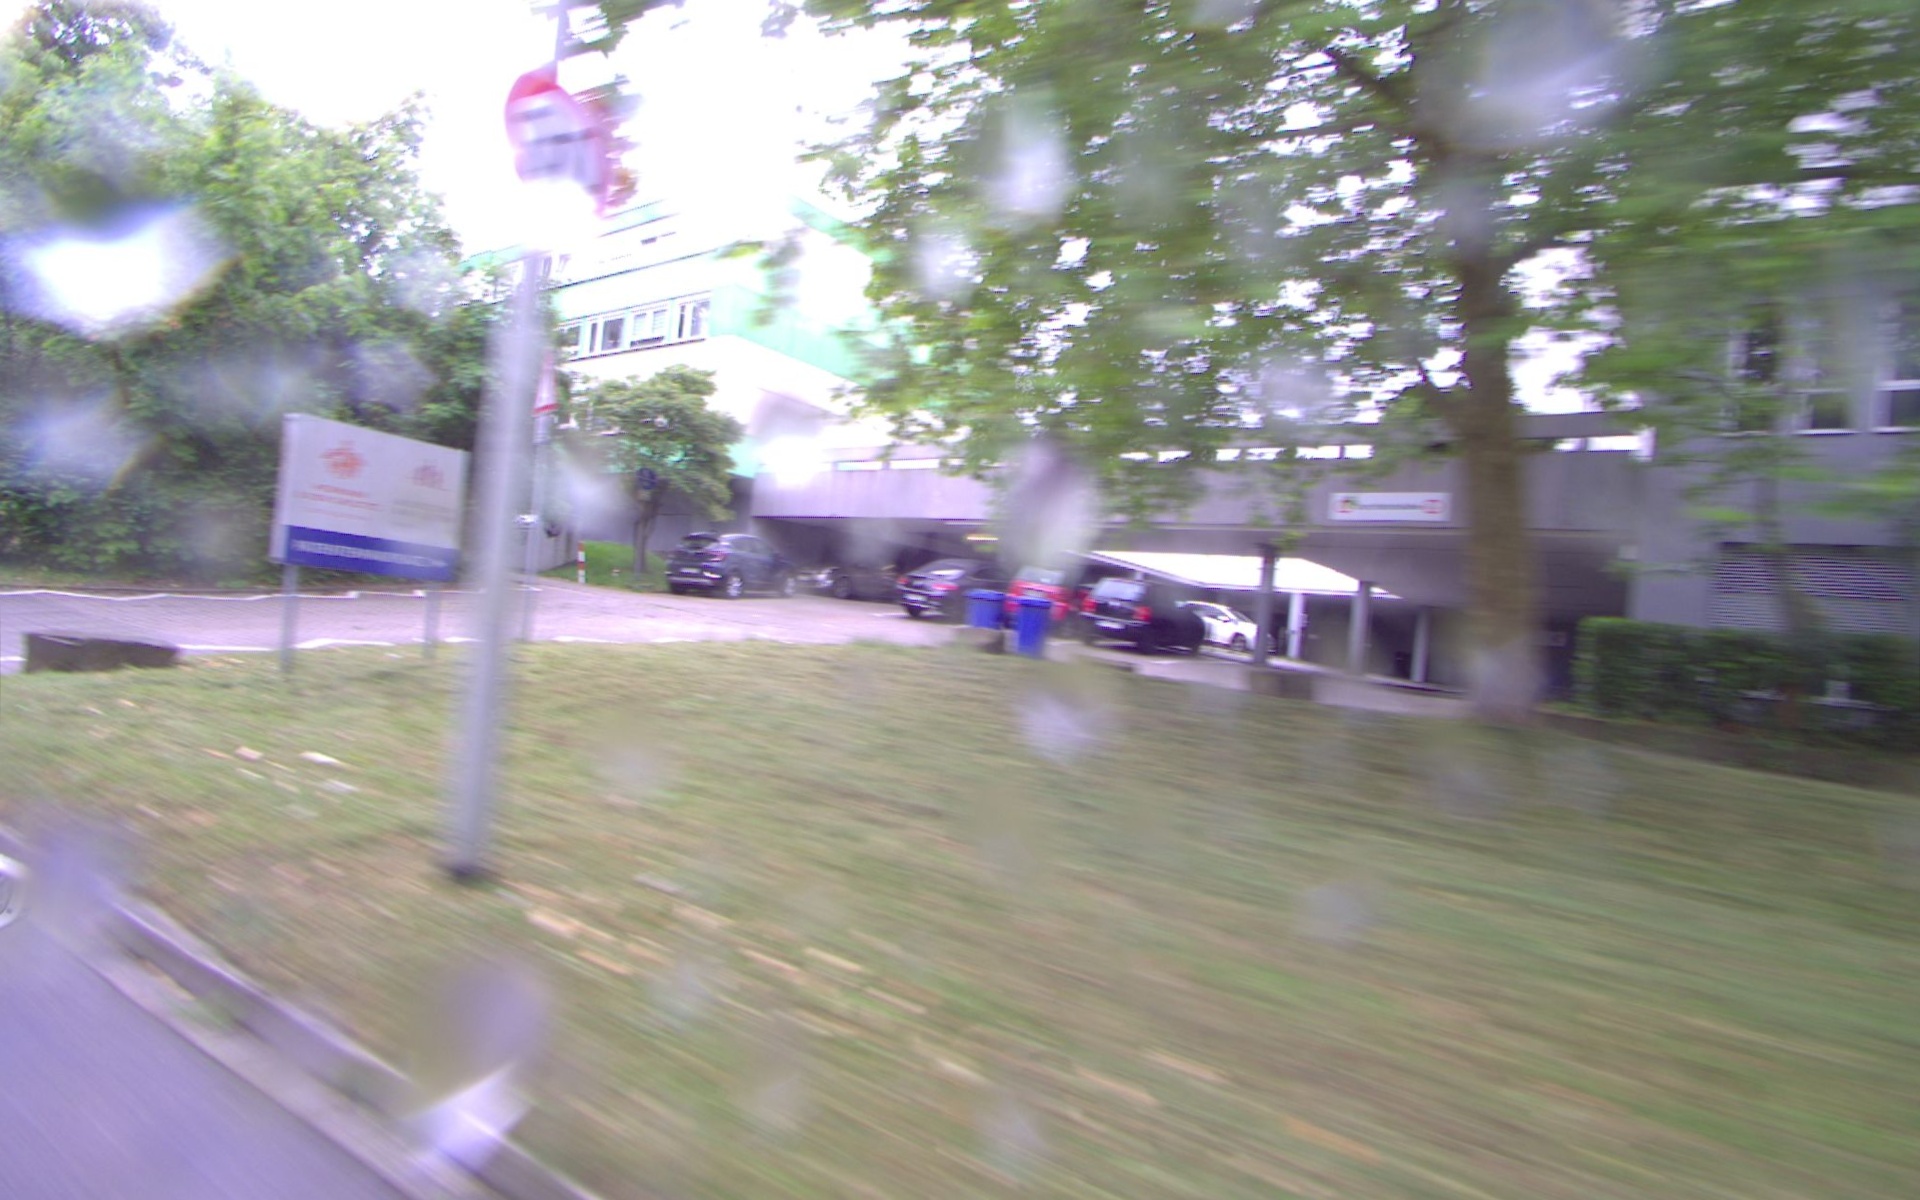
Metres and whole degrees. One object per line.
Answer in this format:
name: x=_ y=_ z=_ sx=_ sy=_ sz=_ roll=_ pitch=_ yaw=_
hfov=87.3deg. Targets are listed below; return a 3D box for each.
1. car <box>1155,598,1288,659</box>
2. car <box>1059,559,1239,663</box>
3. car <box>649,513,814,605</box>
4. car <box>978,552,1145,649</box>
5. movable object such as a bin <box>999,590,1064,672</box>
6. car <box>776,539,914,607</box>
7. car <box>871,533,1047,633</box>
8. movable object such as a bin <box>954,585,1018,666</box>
car: x=9.078 y=0.970 z=35.091 sx=3.947 sy=1.661 sz=1.917 roll=7 pitch=1 yaw=44
car: x=4.082 y=0.281 z=21.271 sx=1.970 sy=1.659 sz=3.986 roll=7 pitch=-1 yaw=38
car: x=-5.753 y=-0.983 z=25.846 sx=1.964 sy=1.771 sz=3.999 roll=7 pitch=-1 yaw=24
car: x=2.425 y=0.069 z=23.174 sx=1.929 sy=1.682 sz=3.989 roll=7 pitch=-1 yaw=36
movable object such as a bin: x=1.102 y=0.477 z=15.452 sx=0.651 sy=1.132 sz=0.671 roll=7 pitch=-3 yaw=26
car: x=-3.523 y=-0.812 z=31.349 sx=1.905 sy=1.593 sz=3.986 roll=7 pitch=0 yaw=37
car: x=0.057 y=-0.357 z=23.740 sx=1.970 sy=1.771 sz=3.986 roll=7 pitch=-1 yaw=38
movable object such as a bin: x=0.415 y=0.407 z=15.779 sx=0.651 sy=1.132 sz=0.671 roll=7 pitch=-3 yaw=26
